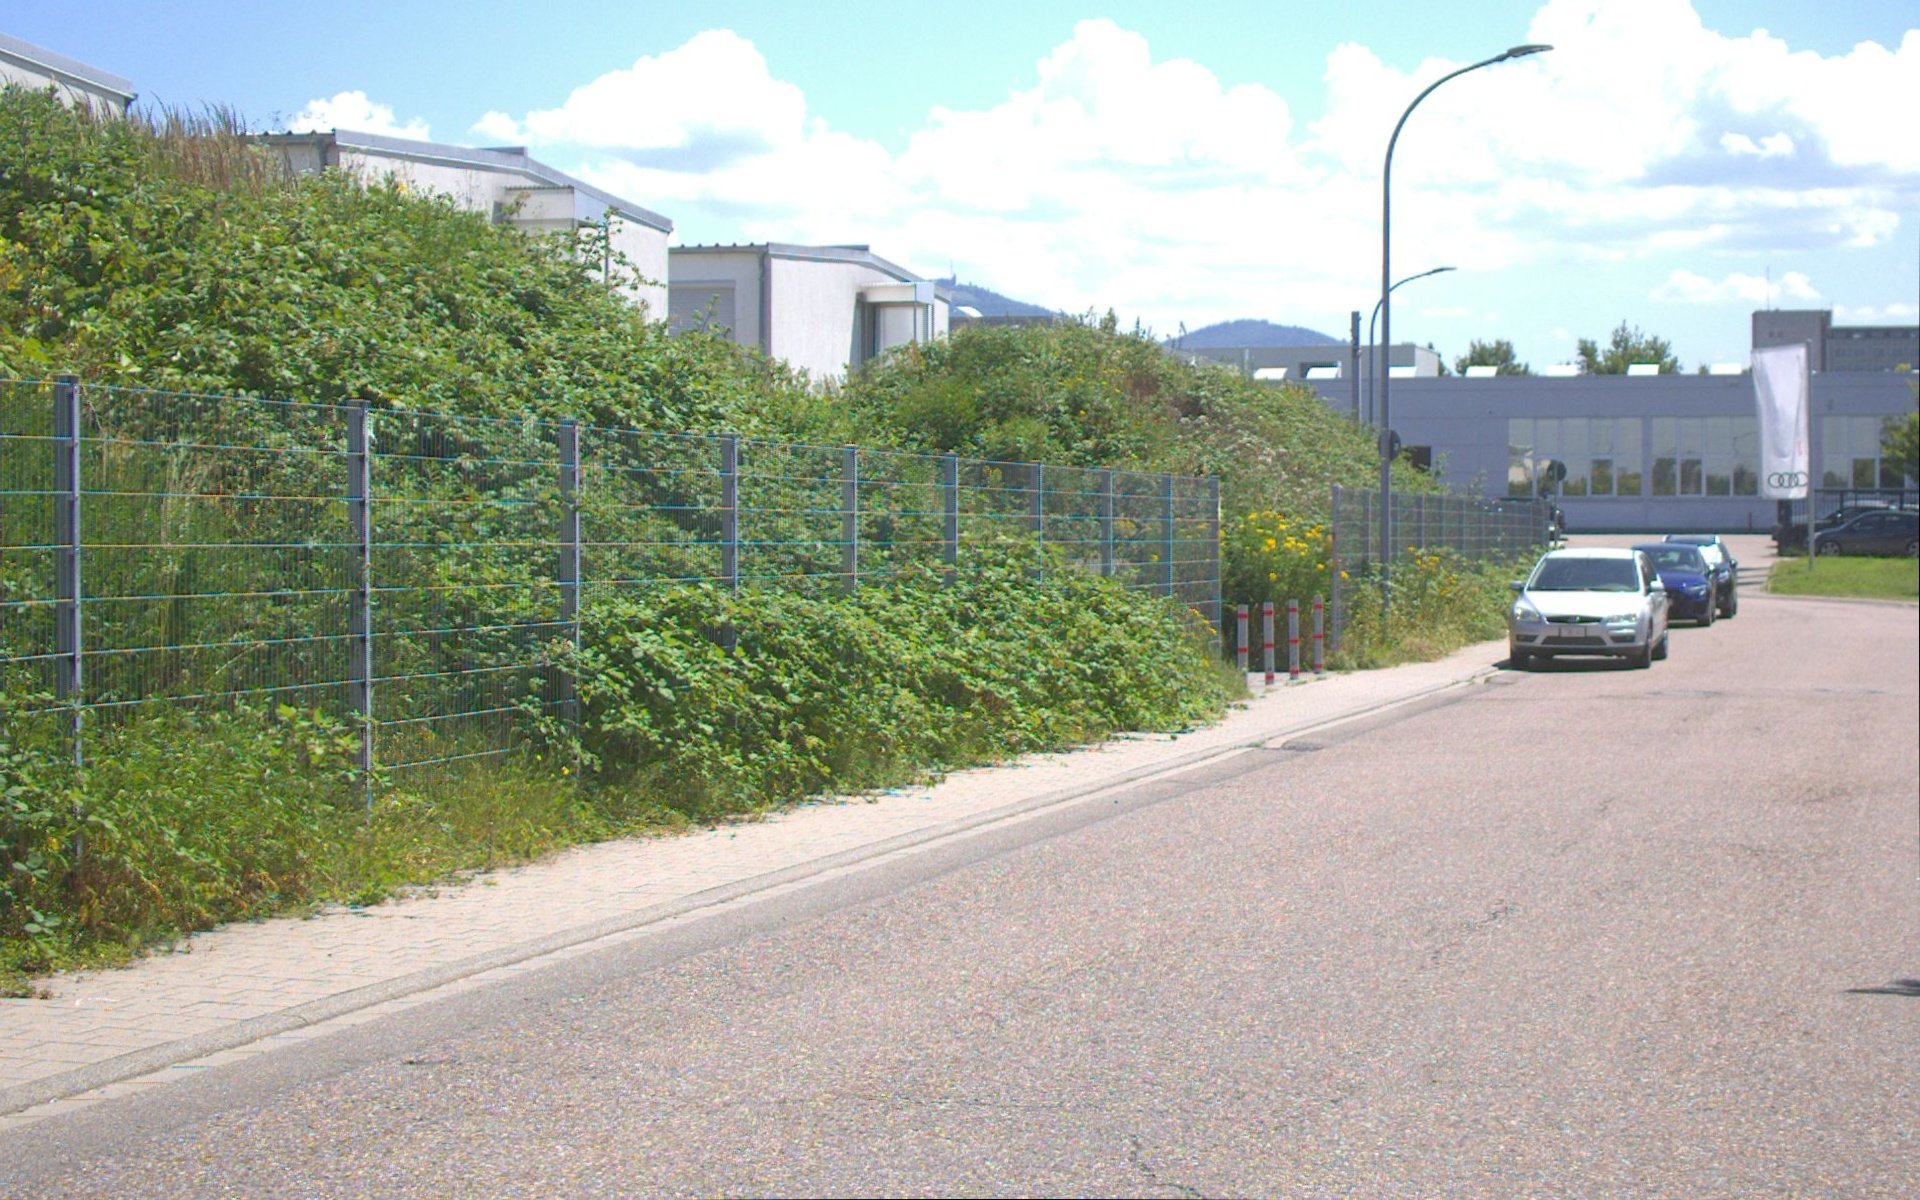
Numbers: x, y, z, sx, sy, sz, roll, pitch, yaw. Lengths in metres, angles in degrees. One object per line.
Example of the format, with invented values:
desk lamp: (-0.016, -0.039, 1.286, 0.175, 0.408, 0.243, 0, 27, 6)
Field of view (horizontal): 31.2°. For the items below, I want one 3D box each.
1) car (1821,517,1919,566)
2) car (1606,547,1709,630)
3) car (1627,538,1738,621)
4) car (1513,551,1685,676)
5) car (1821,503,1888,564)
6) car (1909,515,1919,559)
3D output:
car: (27.364, -1.708, 100.978, 3.989, 1.393, 1.999, 0, -1, 14)
car: (12.485, -0.229, 61.373, 1.657, 1.412, 4.143, 0, 1, 14)
car: (14.000, -0.413, 66.475, 1.835, 1.541, 4.261, 0, 1, 16)
car: (8.397, 0.134, 44.904, 1.835, 1.541, 4.364, 0, 1, 16)
car: (28.890, -2.142, 111.135, 1.995, 1.821, 3.997, 0, -1, 13)
car: (33.442, -2.066, 113.480, 3.989, 1.393, 1.999, 0, -1, 14)
